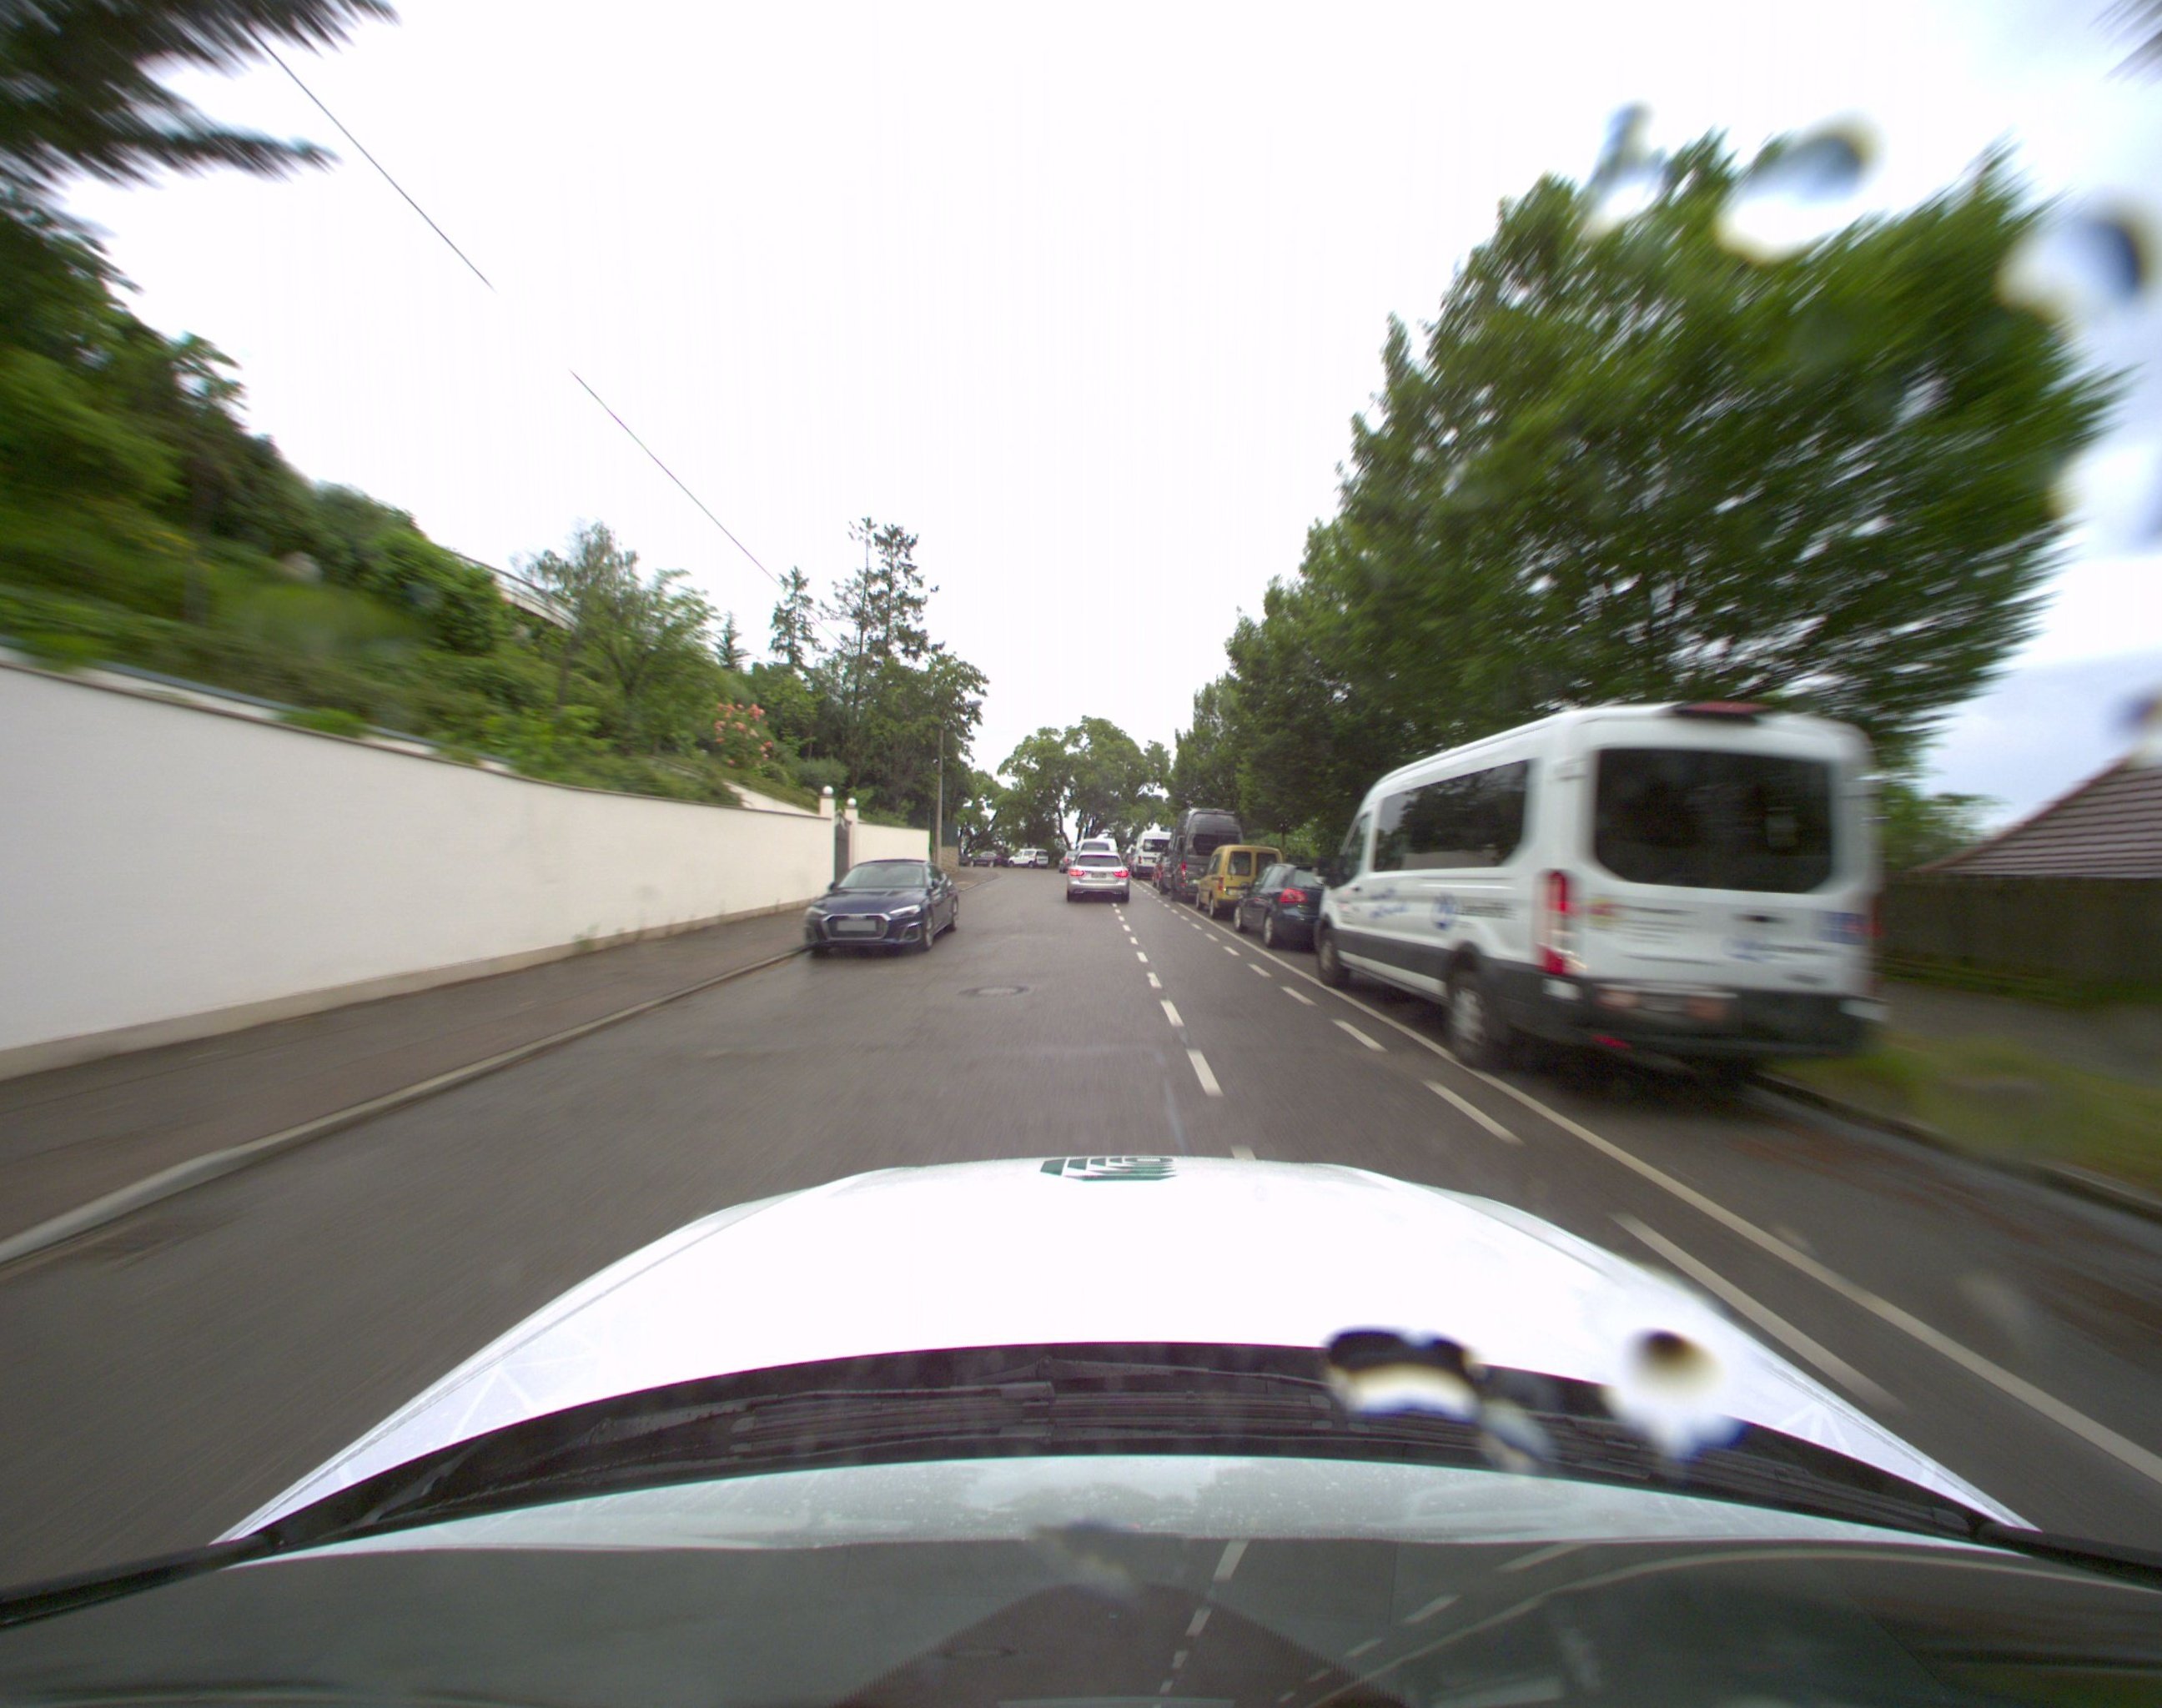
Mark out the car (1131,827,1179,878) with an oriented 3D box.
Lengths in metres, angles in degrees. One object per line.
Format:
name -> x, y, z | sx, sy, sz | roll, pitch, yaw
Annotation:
car -> 3.809, -0.111, 42.743 | 2.057, 2.494, 4.760 | 2, 1, 1

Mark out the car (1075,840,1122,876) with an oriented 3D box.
car -> 0.837, 0.209, 41.776 | 1.990, 1.708, 3.993 | 1, -1, -5

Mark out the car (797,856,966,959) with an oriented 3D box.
car -> -3.164, 0.769, 13.857 | 1.743, 1.357, 4.424 | -2, 1, 0

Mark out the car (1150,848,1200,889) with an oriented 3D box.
car -> 3.772, 0.547, 33.110 | 1.578, 1.527, 3.585 | 2, 1, 0

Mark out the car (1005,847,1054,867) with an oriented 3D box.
car -> -4.827, 0.277, 75.910 | 4.440, 1.697, 1.982 | 3, 1, 41

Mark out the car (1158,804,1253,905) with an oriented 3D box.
car -> 3.926, -0.027, 26.753 | 2.118, 2.886, 5.768 | 2, 1, 0

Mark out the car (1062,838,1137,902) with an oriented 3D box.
car -> 0.511, 0.404, 24.248 | 2.019, 1.708, 4.215 | 1, 1, 0

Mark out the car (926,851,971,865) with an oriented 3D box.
car -> -13.578, 0.424, 83.406 | 4.438, 1.401, 1.983 | -1, 1, 35

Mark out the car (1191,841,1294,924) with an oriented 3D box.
car -> 3.954, 0.615, 20.620 | 1.721, 1.785, 4.276 | 4, 1, 1

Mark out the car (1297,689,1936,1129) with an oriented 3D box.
car -> 3.928, 0.292, 7.782 | 2.166, 2.492, 6.035 | 2, 1, 1

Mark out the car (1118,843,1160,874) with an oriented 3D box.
car -> 3.931, 0.264, 56.404 | 2.062, 1.959, 4.486 | 2, 1, -7

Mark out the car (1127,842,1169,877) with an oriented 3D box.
car -> 4.029, 0.290, 49.772 | 2.058, 1.959, 4.494 | 2, 1, -1

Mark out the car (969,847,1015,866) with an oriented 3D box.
car -> -8.753, 0.228, 79.691 | 4.613, 1.697, 1.982 | 3, 1, 45

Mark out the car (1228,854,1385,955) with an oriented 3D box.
car -> 3.946, 0.804, 15.007 | 1.666, 1.458, 4.223 | 3, 1, 0

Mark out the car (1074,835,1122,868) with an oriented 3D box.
car -> 1.358, -0.229, 65.886 | 2.135, 2.526, 4.461 | 2, 1, -24

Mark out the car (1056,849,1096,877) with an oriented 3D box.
car -> -0.375, 0.555, 52.319 | 1.993, 1.708, 3.988 | 1, -1, -9
